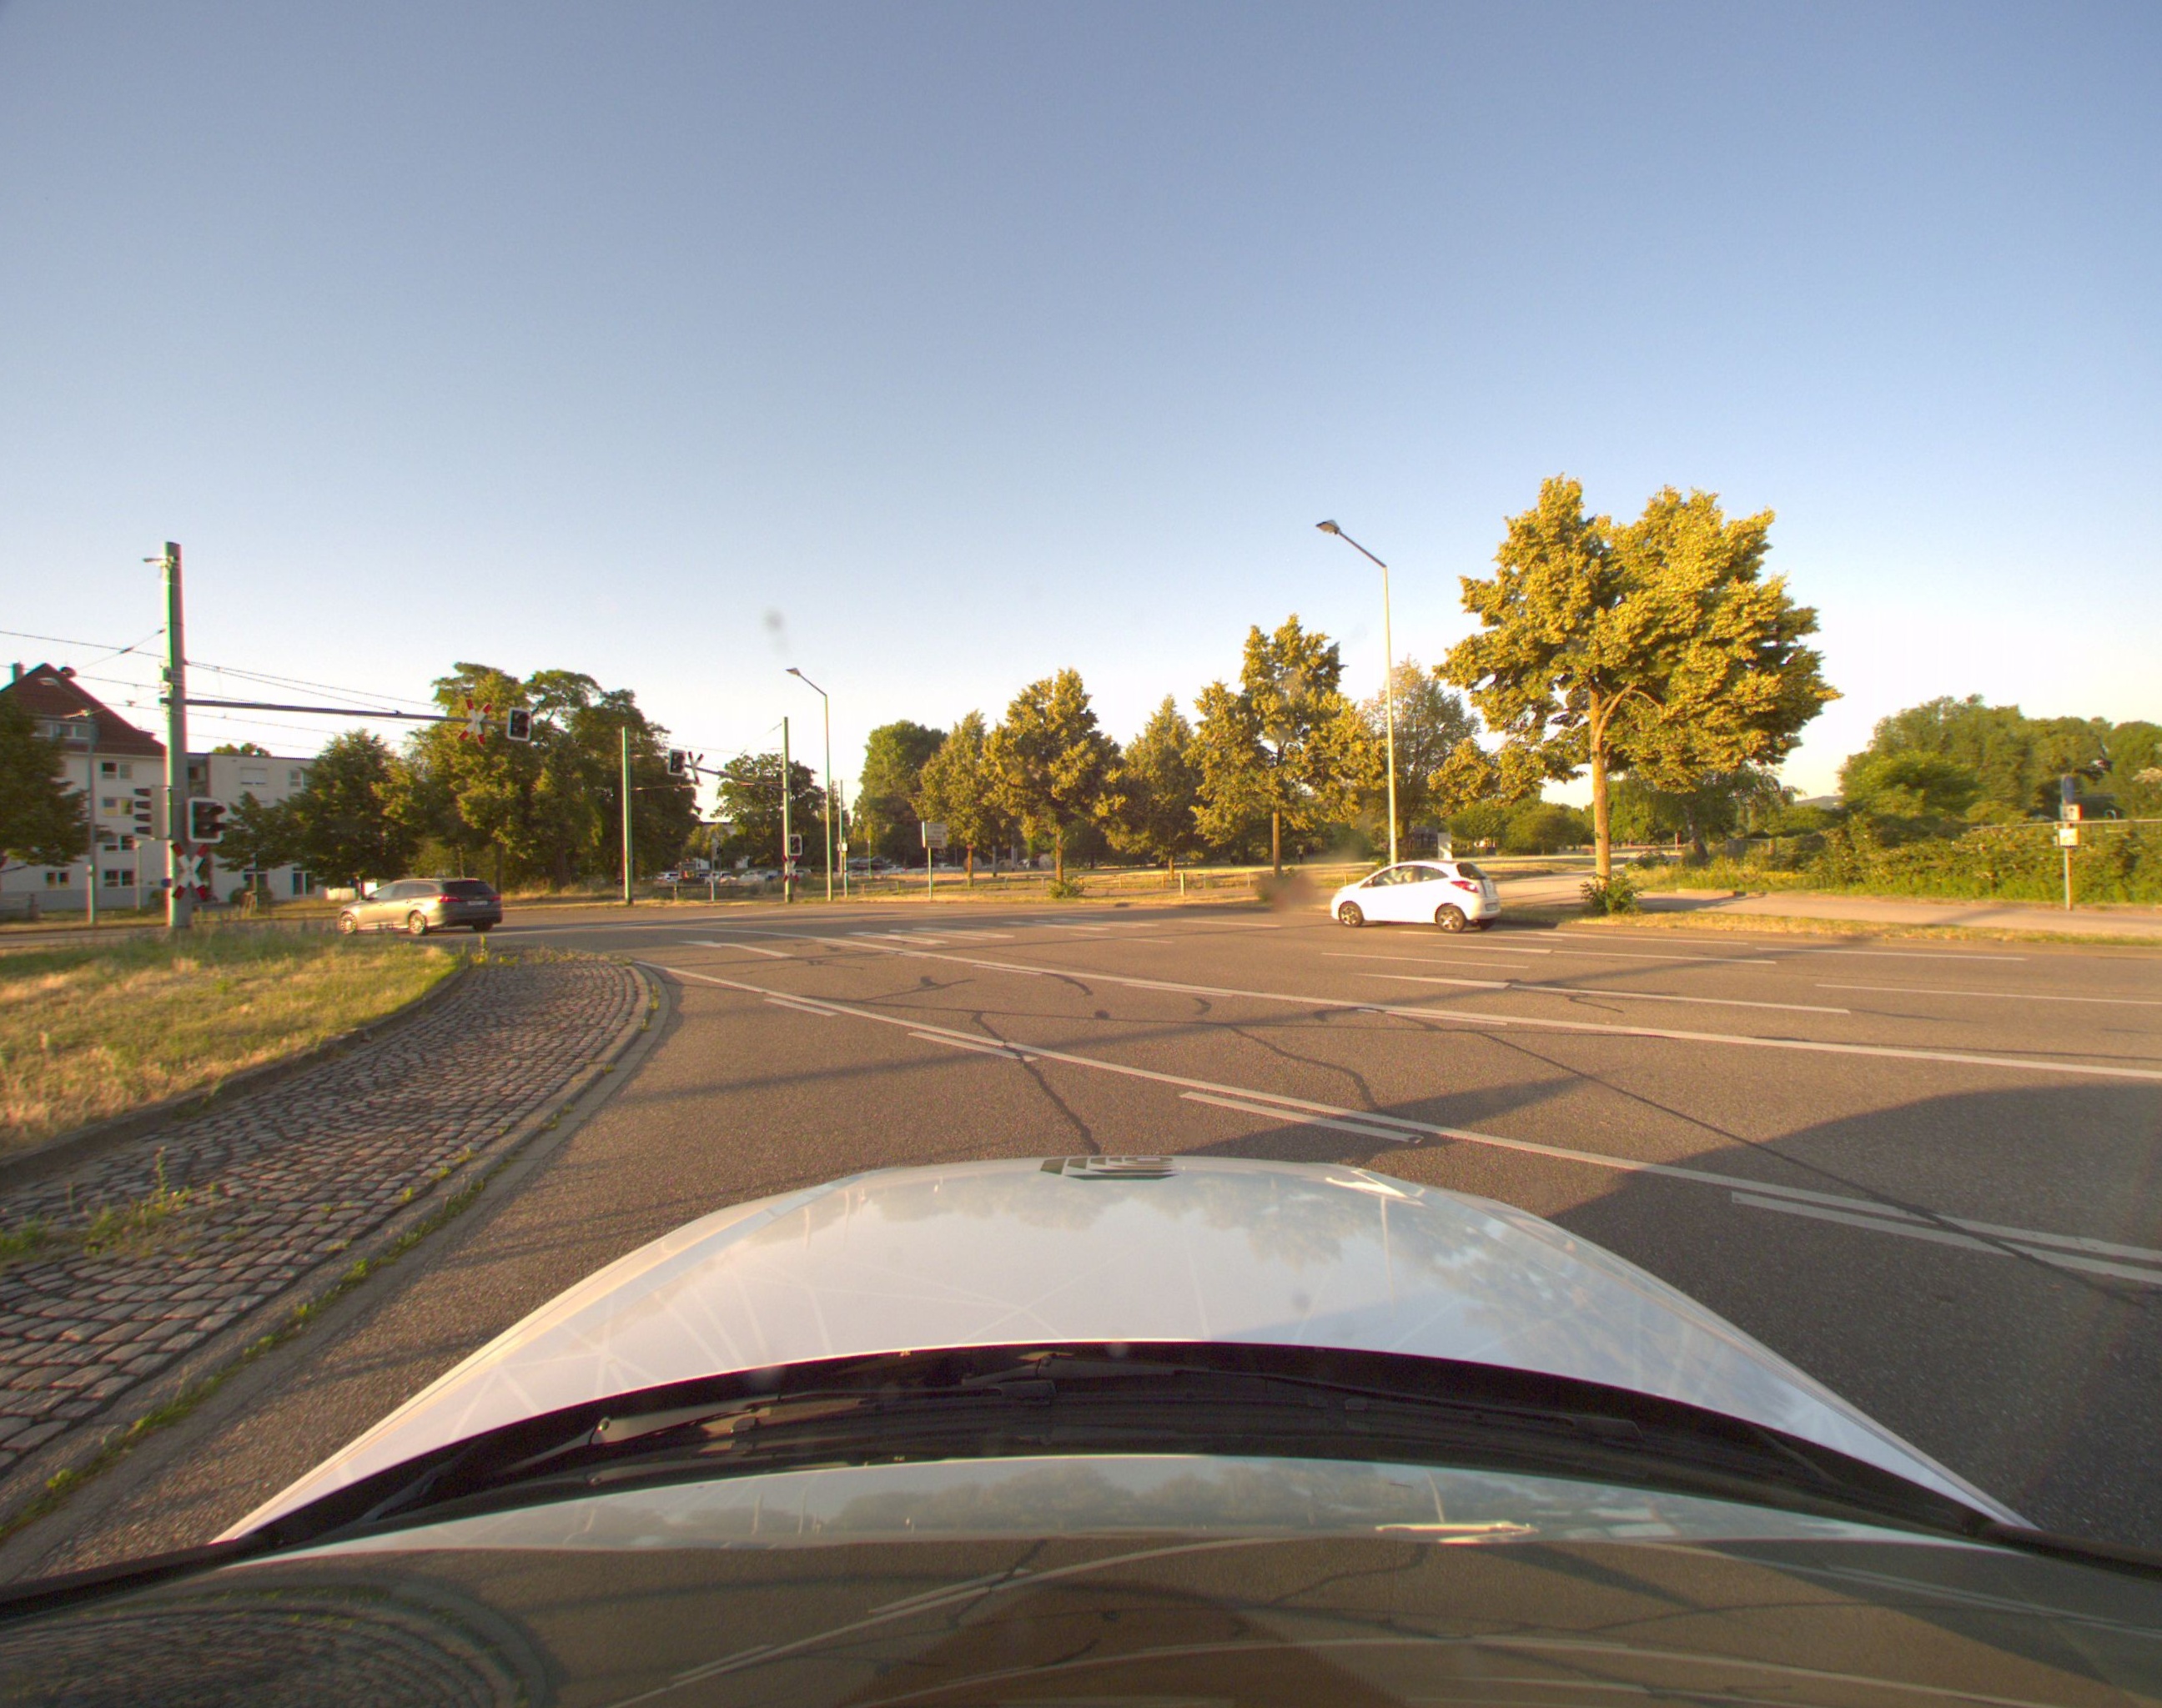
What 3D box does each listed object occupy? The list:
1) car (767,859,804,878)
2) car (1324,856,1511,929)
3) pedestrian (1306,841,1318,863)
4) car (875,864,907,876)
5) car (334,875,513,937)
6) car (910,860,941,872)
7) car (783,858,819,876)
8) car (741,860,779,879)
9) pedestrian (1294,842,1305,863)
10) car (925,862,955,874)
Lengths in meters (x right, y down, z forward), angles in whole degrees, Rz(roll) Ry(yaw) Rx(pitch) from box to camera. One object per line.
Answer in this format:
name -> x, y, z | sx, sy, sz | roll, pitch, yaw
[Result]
car -> -34.632, 1.745, 95.399 | 3.948, 2.098, 2.013 | -2, 0, 34
car -> 7.321, 0.805, 17.923 | 1.562, 1.443, 3.444 | 0, -1, -42
pedestrian -> 17.635, -0.136, 62.102 | 0.622, 1.626, 0.525 | -1, 0, -28
car -> -25.382, 2.120, 108.782 | 3.948, 1.551, 2.013 | -2, 0, 32
car -> -17.576, 1.391, 21.791 | 4.087, 1.466, 1.760 | -2, 0, 19
car -> -21.863, 1.699, 114.806 | 3.948, 1.551, 2.013 | -2, 0, 32
car -> -33.573, 1.543, 97.639 | 3.948, 2.098, 2.013 | -2, 0, 34
car -> -36.624, 1.769, 92.877 | 3.948, 2.098, 2.013 | -2, 0, 34
pedestrian -> 16.727, -0.120, 62.250 | 0.582, 1.626, 0.528 | -1, 0, -30
car -> -20.141, 2.012, 116.296 | 3.948, 1.551, 2.013 | -2, 0, 32
